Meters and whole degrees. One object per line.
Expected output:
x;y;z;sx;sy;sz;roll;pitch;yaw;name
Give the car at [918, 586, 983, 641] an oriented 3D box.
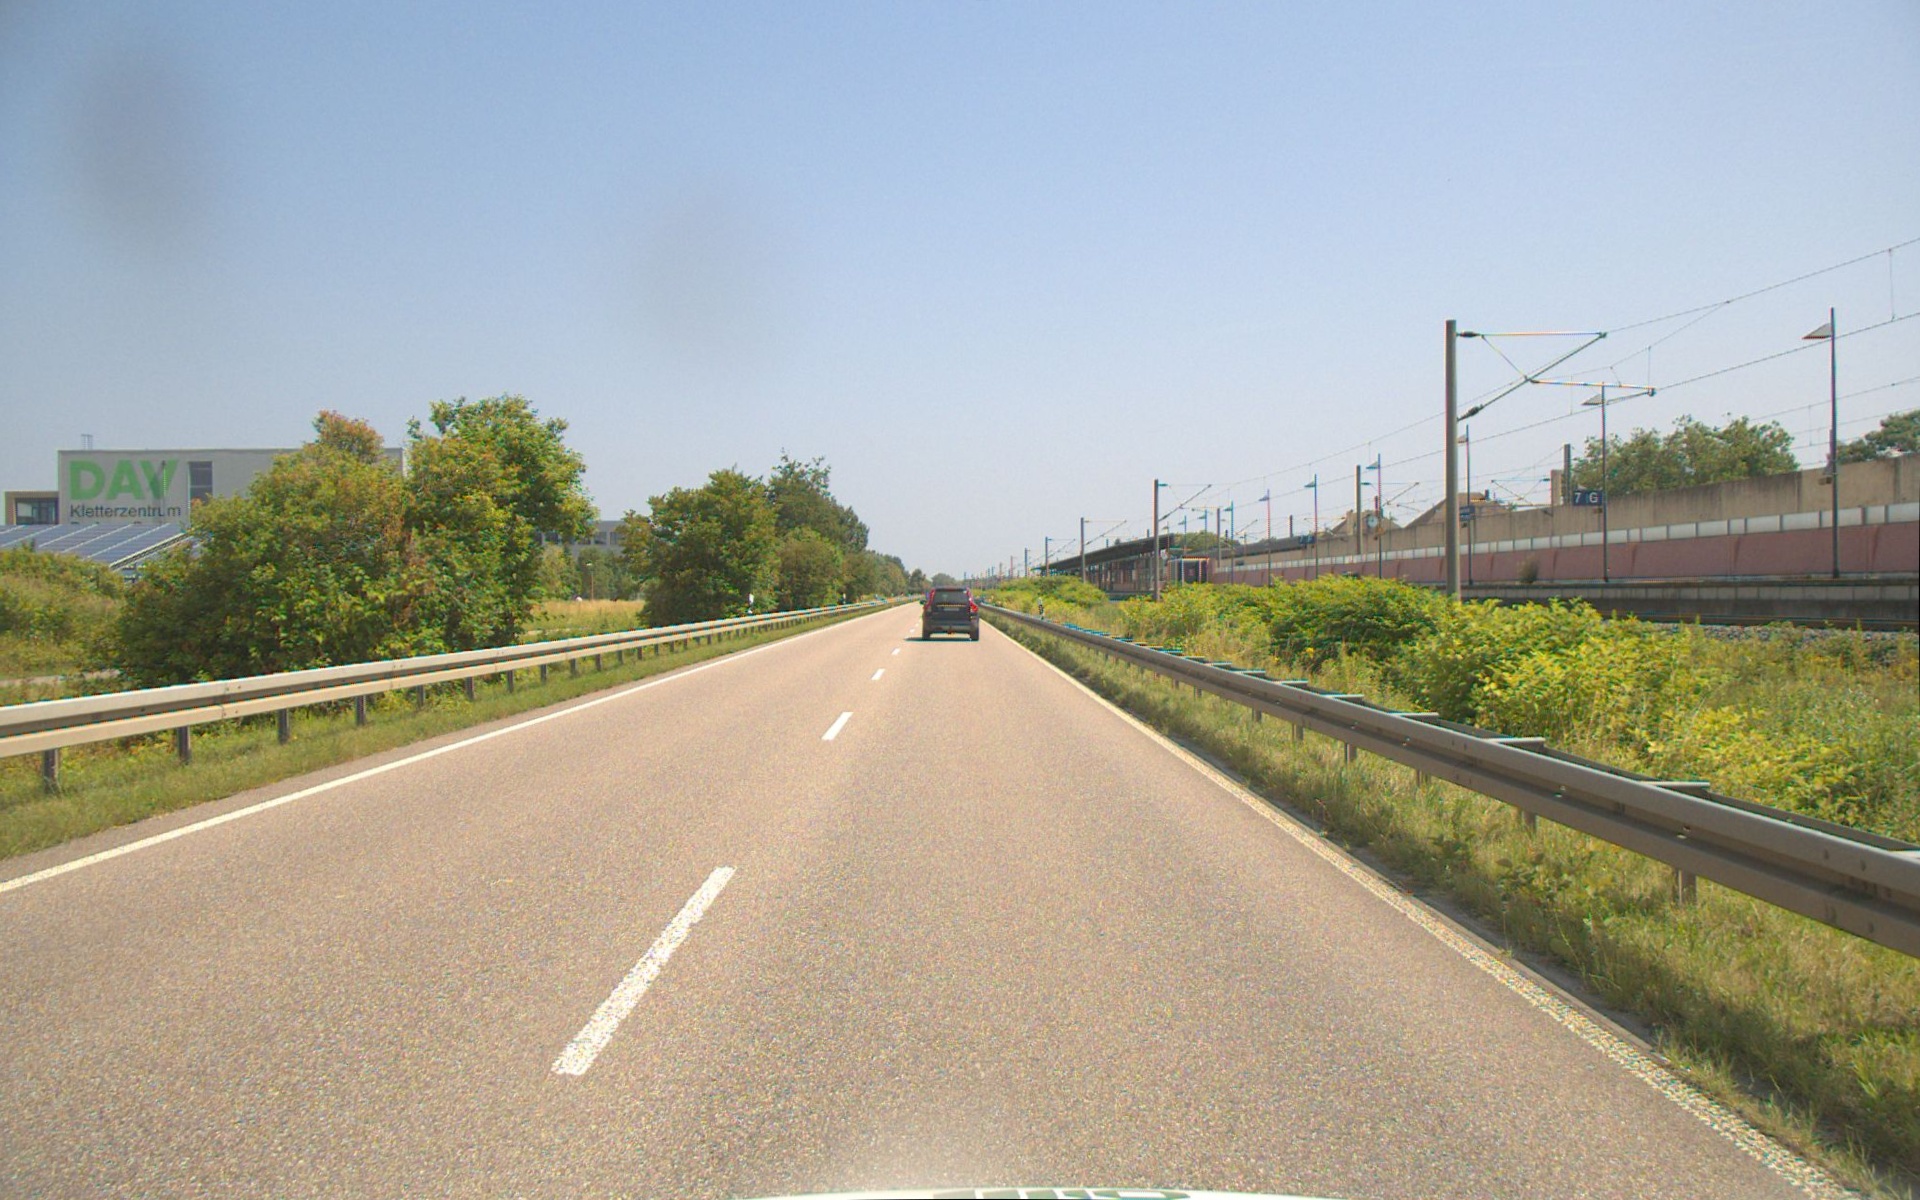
-0.341;0.420;54.333;1.954;1.730;3.998;0;0;-3;car
